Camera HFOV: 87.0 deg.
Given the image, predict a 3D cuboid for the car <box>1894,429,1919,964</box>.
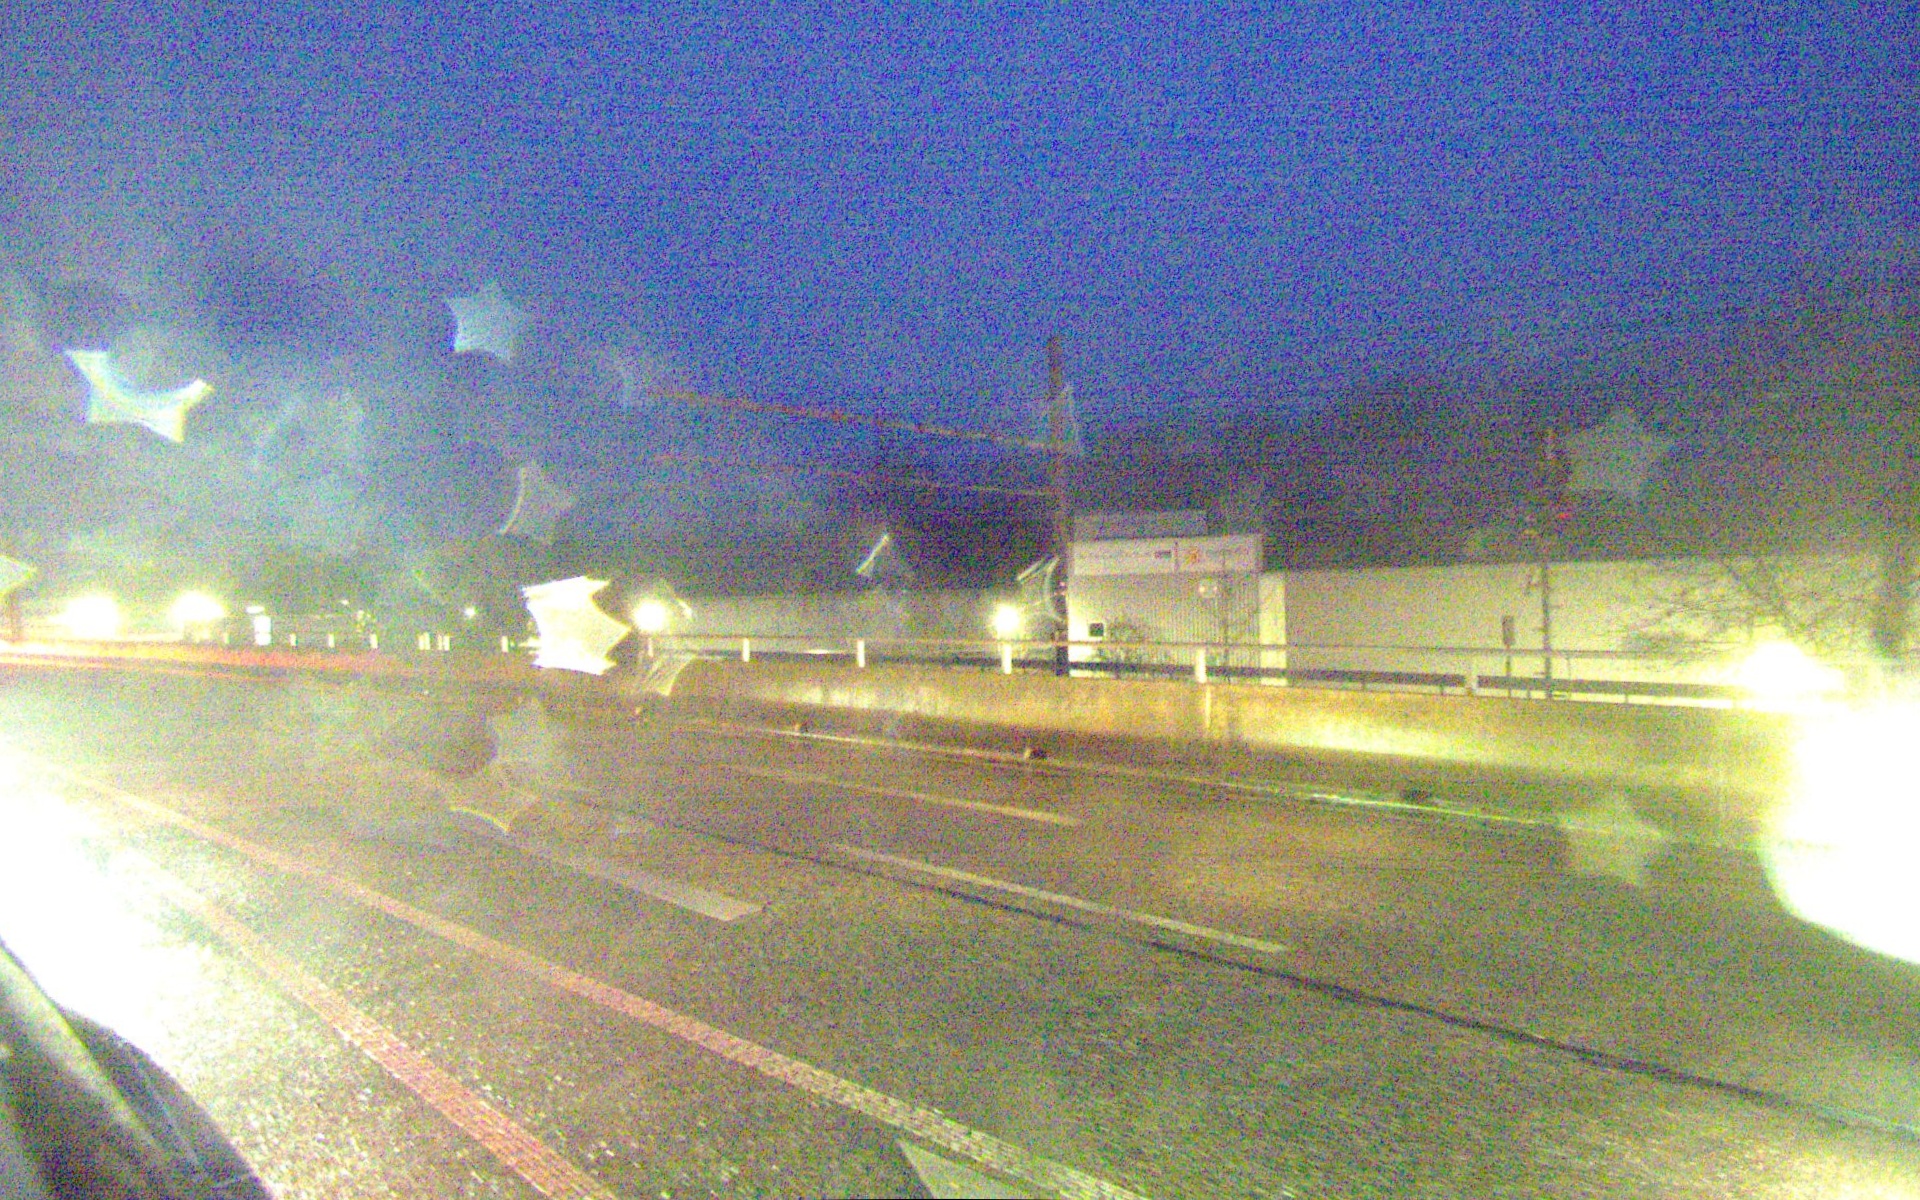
[{"bbox_3d":[5.598,0.387,2.511,4.711,2.029,2.063,-1,-1,41],"label":"car"}]
